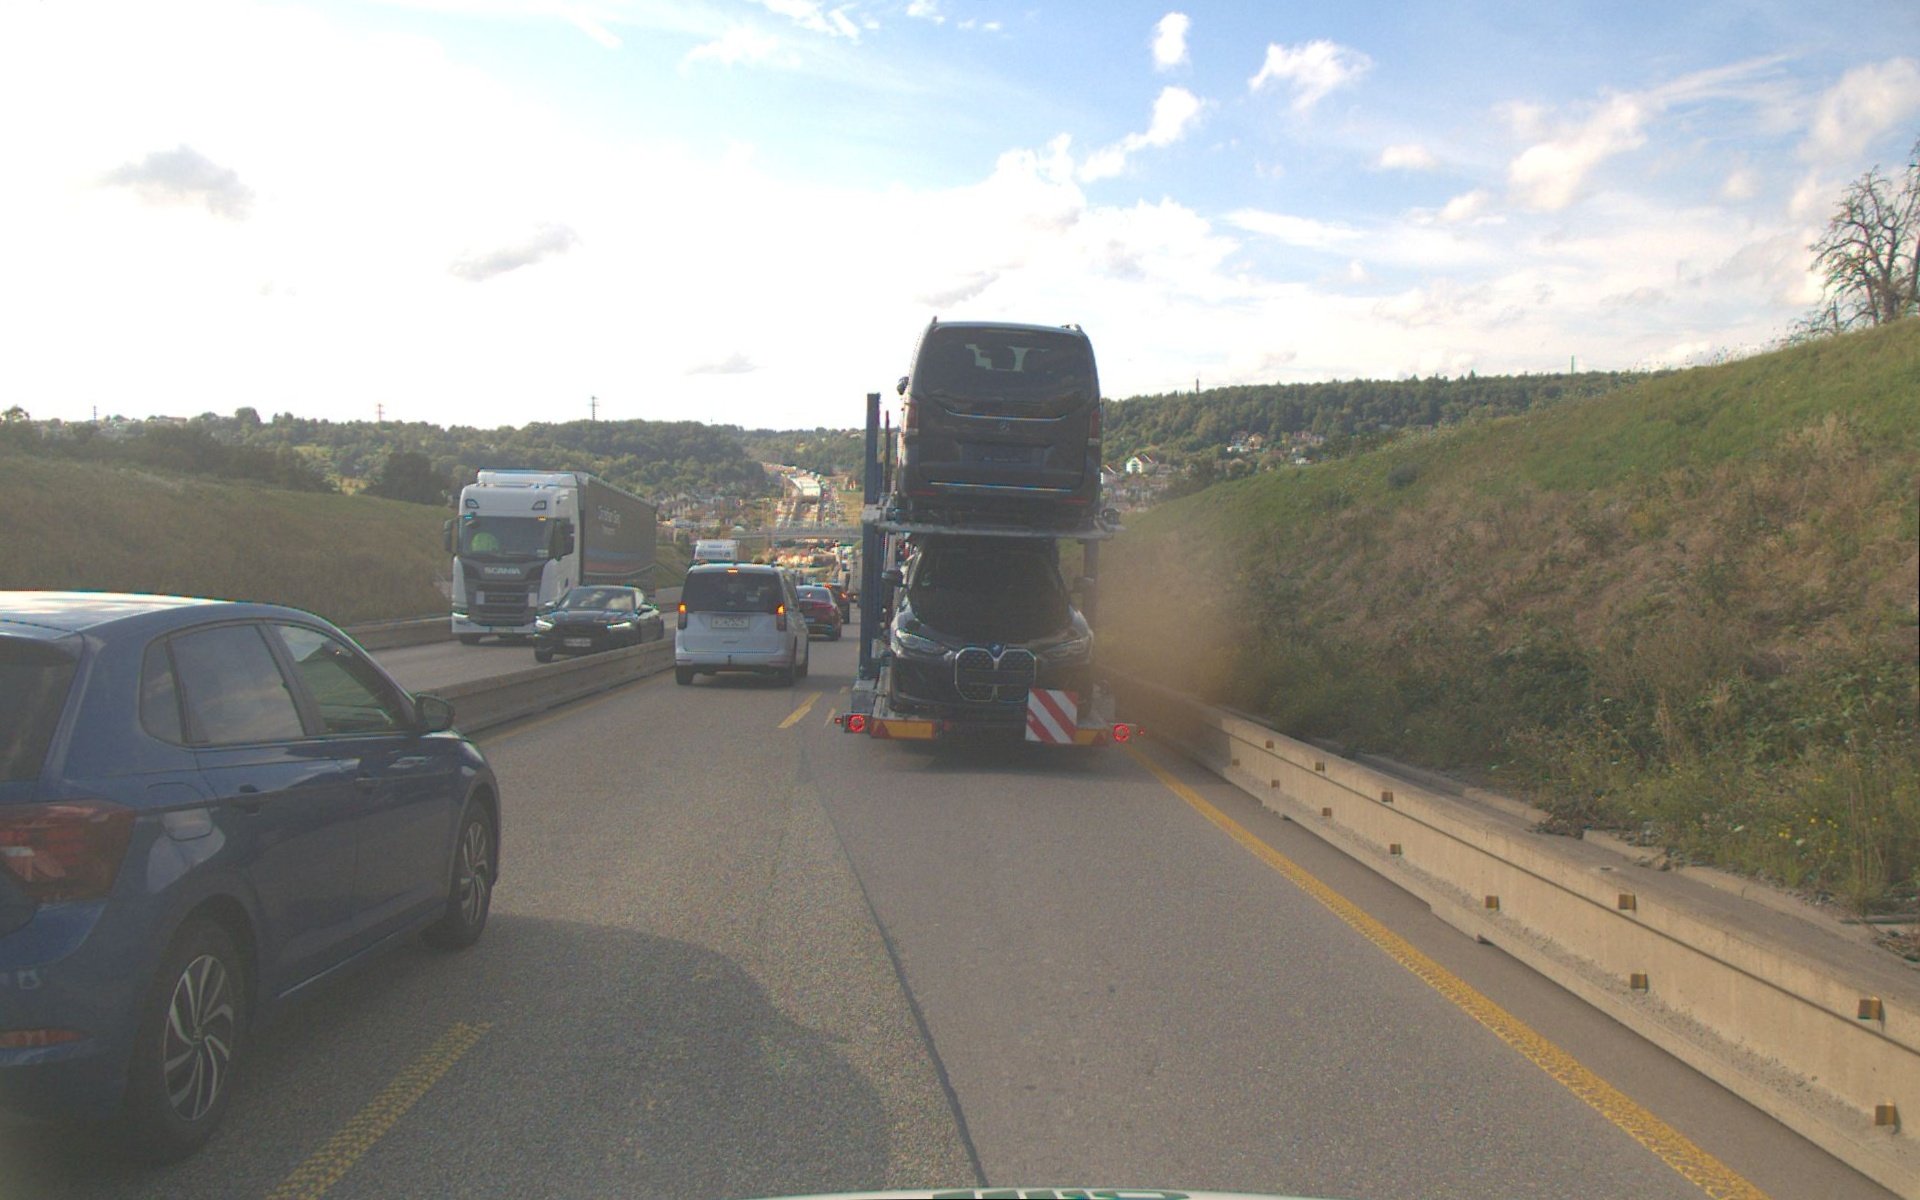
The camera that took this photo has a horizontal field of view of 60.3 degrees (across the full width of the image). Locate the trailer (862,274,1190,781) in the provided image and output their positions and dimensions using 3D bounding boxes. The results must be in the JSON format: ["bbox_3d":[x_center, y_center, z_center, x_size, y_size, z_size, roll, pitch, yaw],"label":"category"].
[{"bbox_3d":[0.360,-0.631,19.149,2.653,4.099,11.415,0,0,-2],"label":"trailer"}]

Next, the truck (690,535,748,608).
[{"bbox_3d":[-14.442,-1.670,99.759,2.586,4.171,10.810,0,0,-4],"label":"truck"}]

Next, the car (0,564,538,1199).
[{"bbox_3d":[-2.713,0.668,5.375,1.680,1.534,3.999,1,0,-1],"label":"car"}]

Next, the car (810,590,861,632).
[{"bbox_3d":[-5.094,0.432,68.116,1.954,1.653,4.747,0,1,-3],"label":"car"}]

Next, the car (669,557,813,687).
[{"bbox_3d":[-3.385,0.289,26.345,1.786,1.855,4.455,2,1,-2],"label":"car"}]

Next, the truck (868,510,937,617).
[{"bbox_3d":[-2.816,-1.642,78.127,2.807,4.650,11.648,0,0,-4],"label":"truck"}]

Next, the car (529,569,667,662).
[{"bbox_3d":[-6.865,0.305,31.729,1.784,1.631,3.999,1,-1,-1],"label":"car"}]

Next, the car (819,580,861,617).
[{"bbox_3d":[-5.426,-0.080,74.960,1.760,1.624,4.740,0,0,-3],"label":"car"}]

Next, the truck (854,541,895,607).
[{"bbox_3d":[-6.426,-1.862,122.749,2.807,4.650,11.648,0,0,-4],"label":"truck"}]

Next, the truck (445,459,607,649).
[{"bbox_3d":[-10.323,-1.045,39.860,2.562,4.226,5.779,0,0,-2],"label":"truck"}]

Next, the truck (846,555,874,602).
[{"bbox_3d":[-10.330,-2.208,170.012,2.807,4.650,11.648,0,0,-4],"label":"truck"}]

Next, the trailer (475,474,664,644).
[{"bbox_3d":[-10.567,-1.039,46.456,2.562,4.023,13.868,0,0,-2],"label":"trailer"}]

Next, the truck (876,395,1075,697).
[{"bbox_3d":[0.088,-0.734,24.959,2.624,3.990,6.025,0,0,-2],"label":"truck"}]

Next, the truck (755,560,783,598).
[{"bbox_3d":[-21.579,-2.312,187.418,2.586,4.171,10.810,0,0,-4],"label":"truck"}]

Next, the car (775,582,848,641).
[{"bbox_3d":[-4.186,0.283,47.205,1.786,1.518,4.682,2,1,-2],"label":"car"}]
